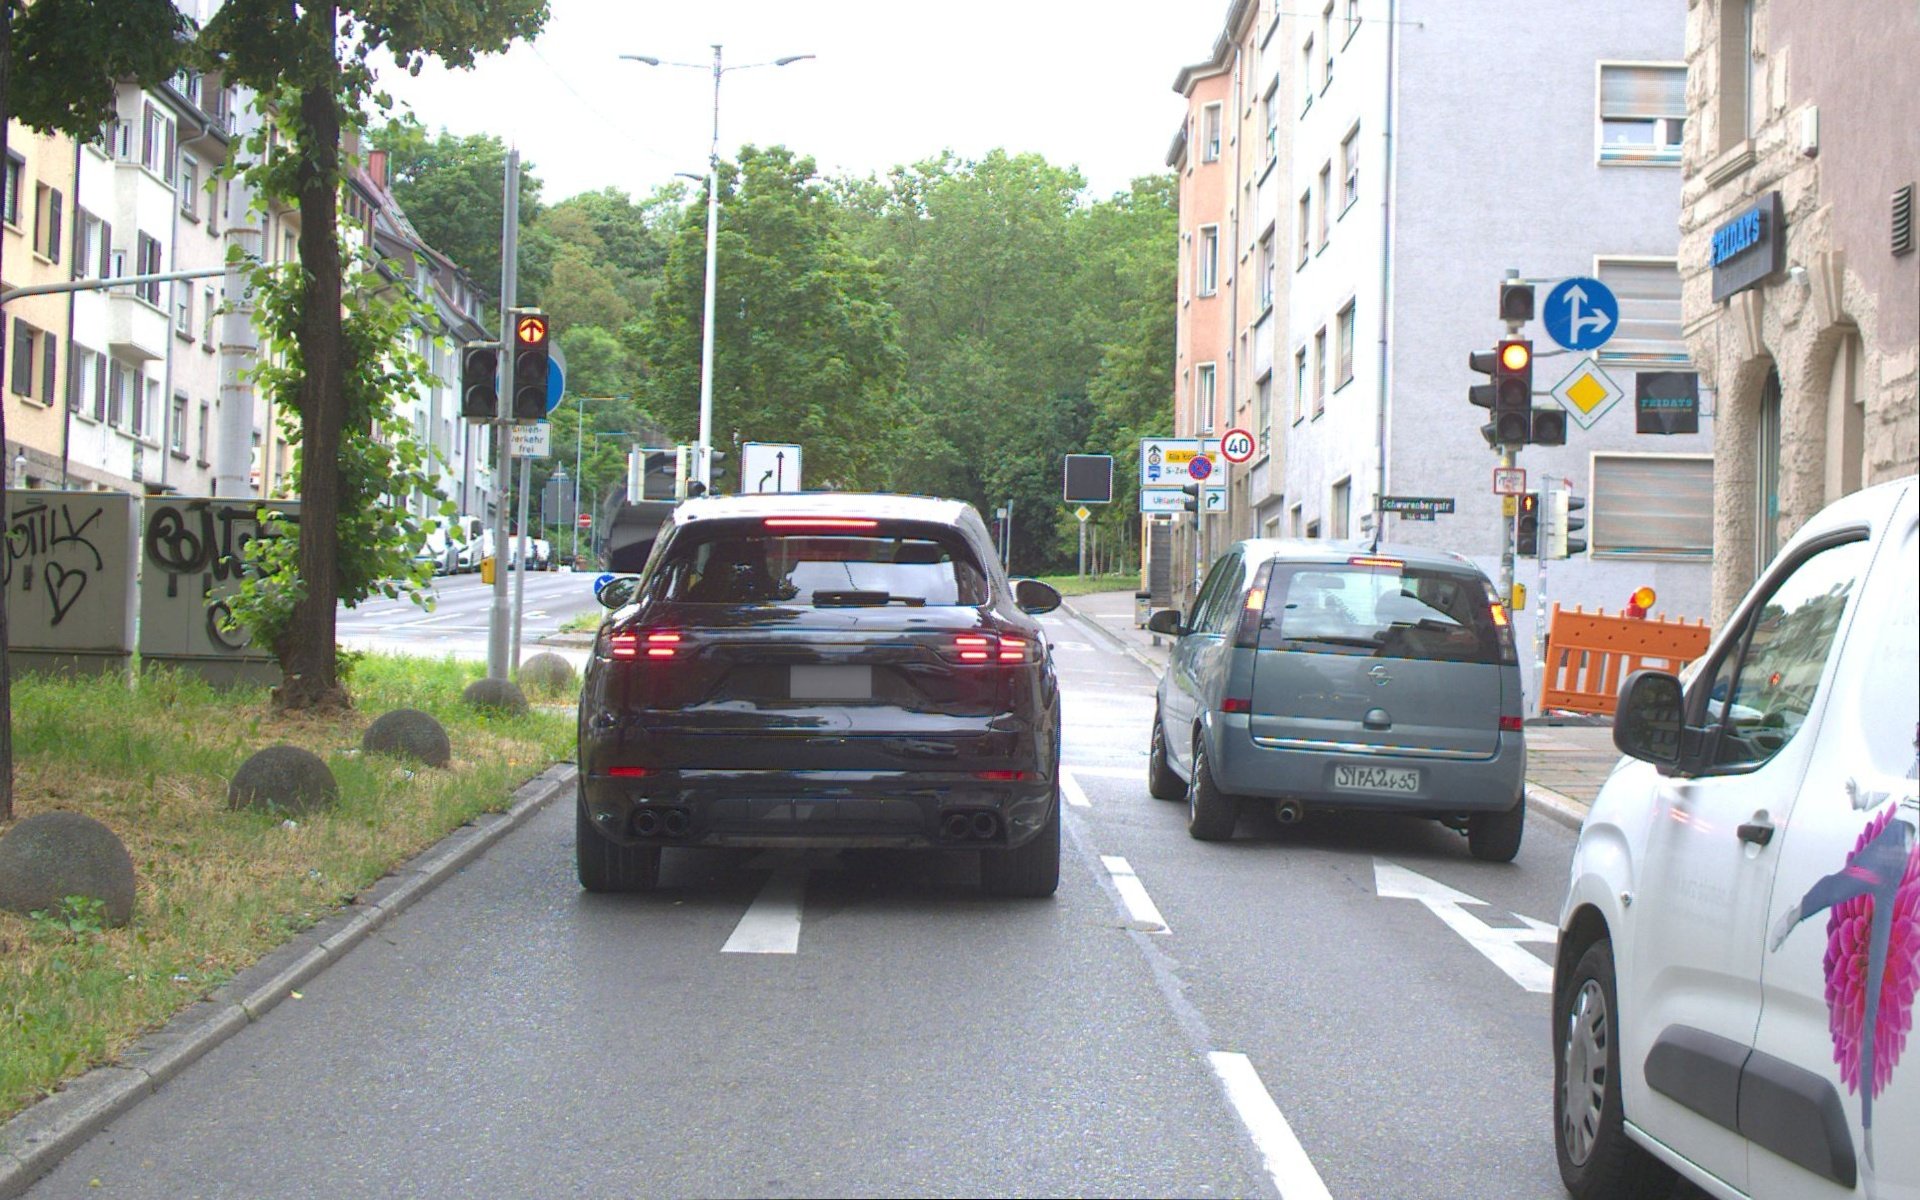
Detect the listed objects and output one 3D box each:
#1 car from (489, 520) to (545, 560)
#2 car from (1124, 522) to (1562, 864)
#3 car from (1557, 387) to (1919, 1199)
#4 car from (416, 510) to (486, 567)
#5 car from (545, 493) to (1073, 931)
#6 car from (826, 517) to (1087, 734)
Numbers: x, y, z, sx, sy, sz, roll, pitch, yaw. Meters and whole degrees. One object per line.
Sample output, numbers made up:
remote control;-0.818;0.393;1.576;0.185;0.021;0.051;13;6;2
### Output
car;-17.475;-2.382;135.719;1.794;1.505;4.001;2;1;-2
car;1.985;0.433;18.848;1.752;1.588;3.631;4;1;-2
car;2.430;0.643;6.745;1.850;1.819;5.020;3;0;3
car;-16.893;-2.057;114.303;1.794;1.804;4.001;2;1;-2
car;-0.568;0.374;15.156;1.994;1.647;4.000;1;2;0
car;-0.015;0.179;28.676;1.994;1.647;4.000;1;0;0
